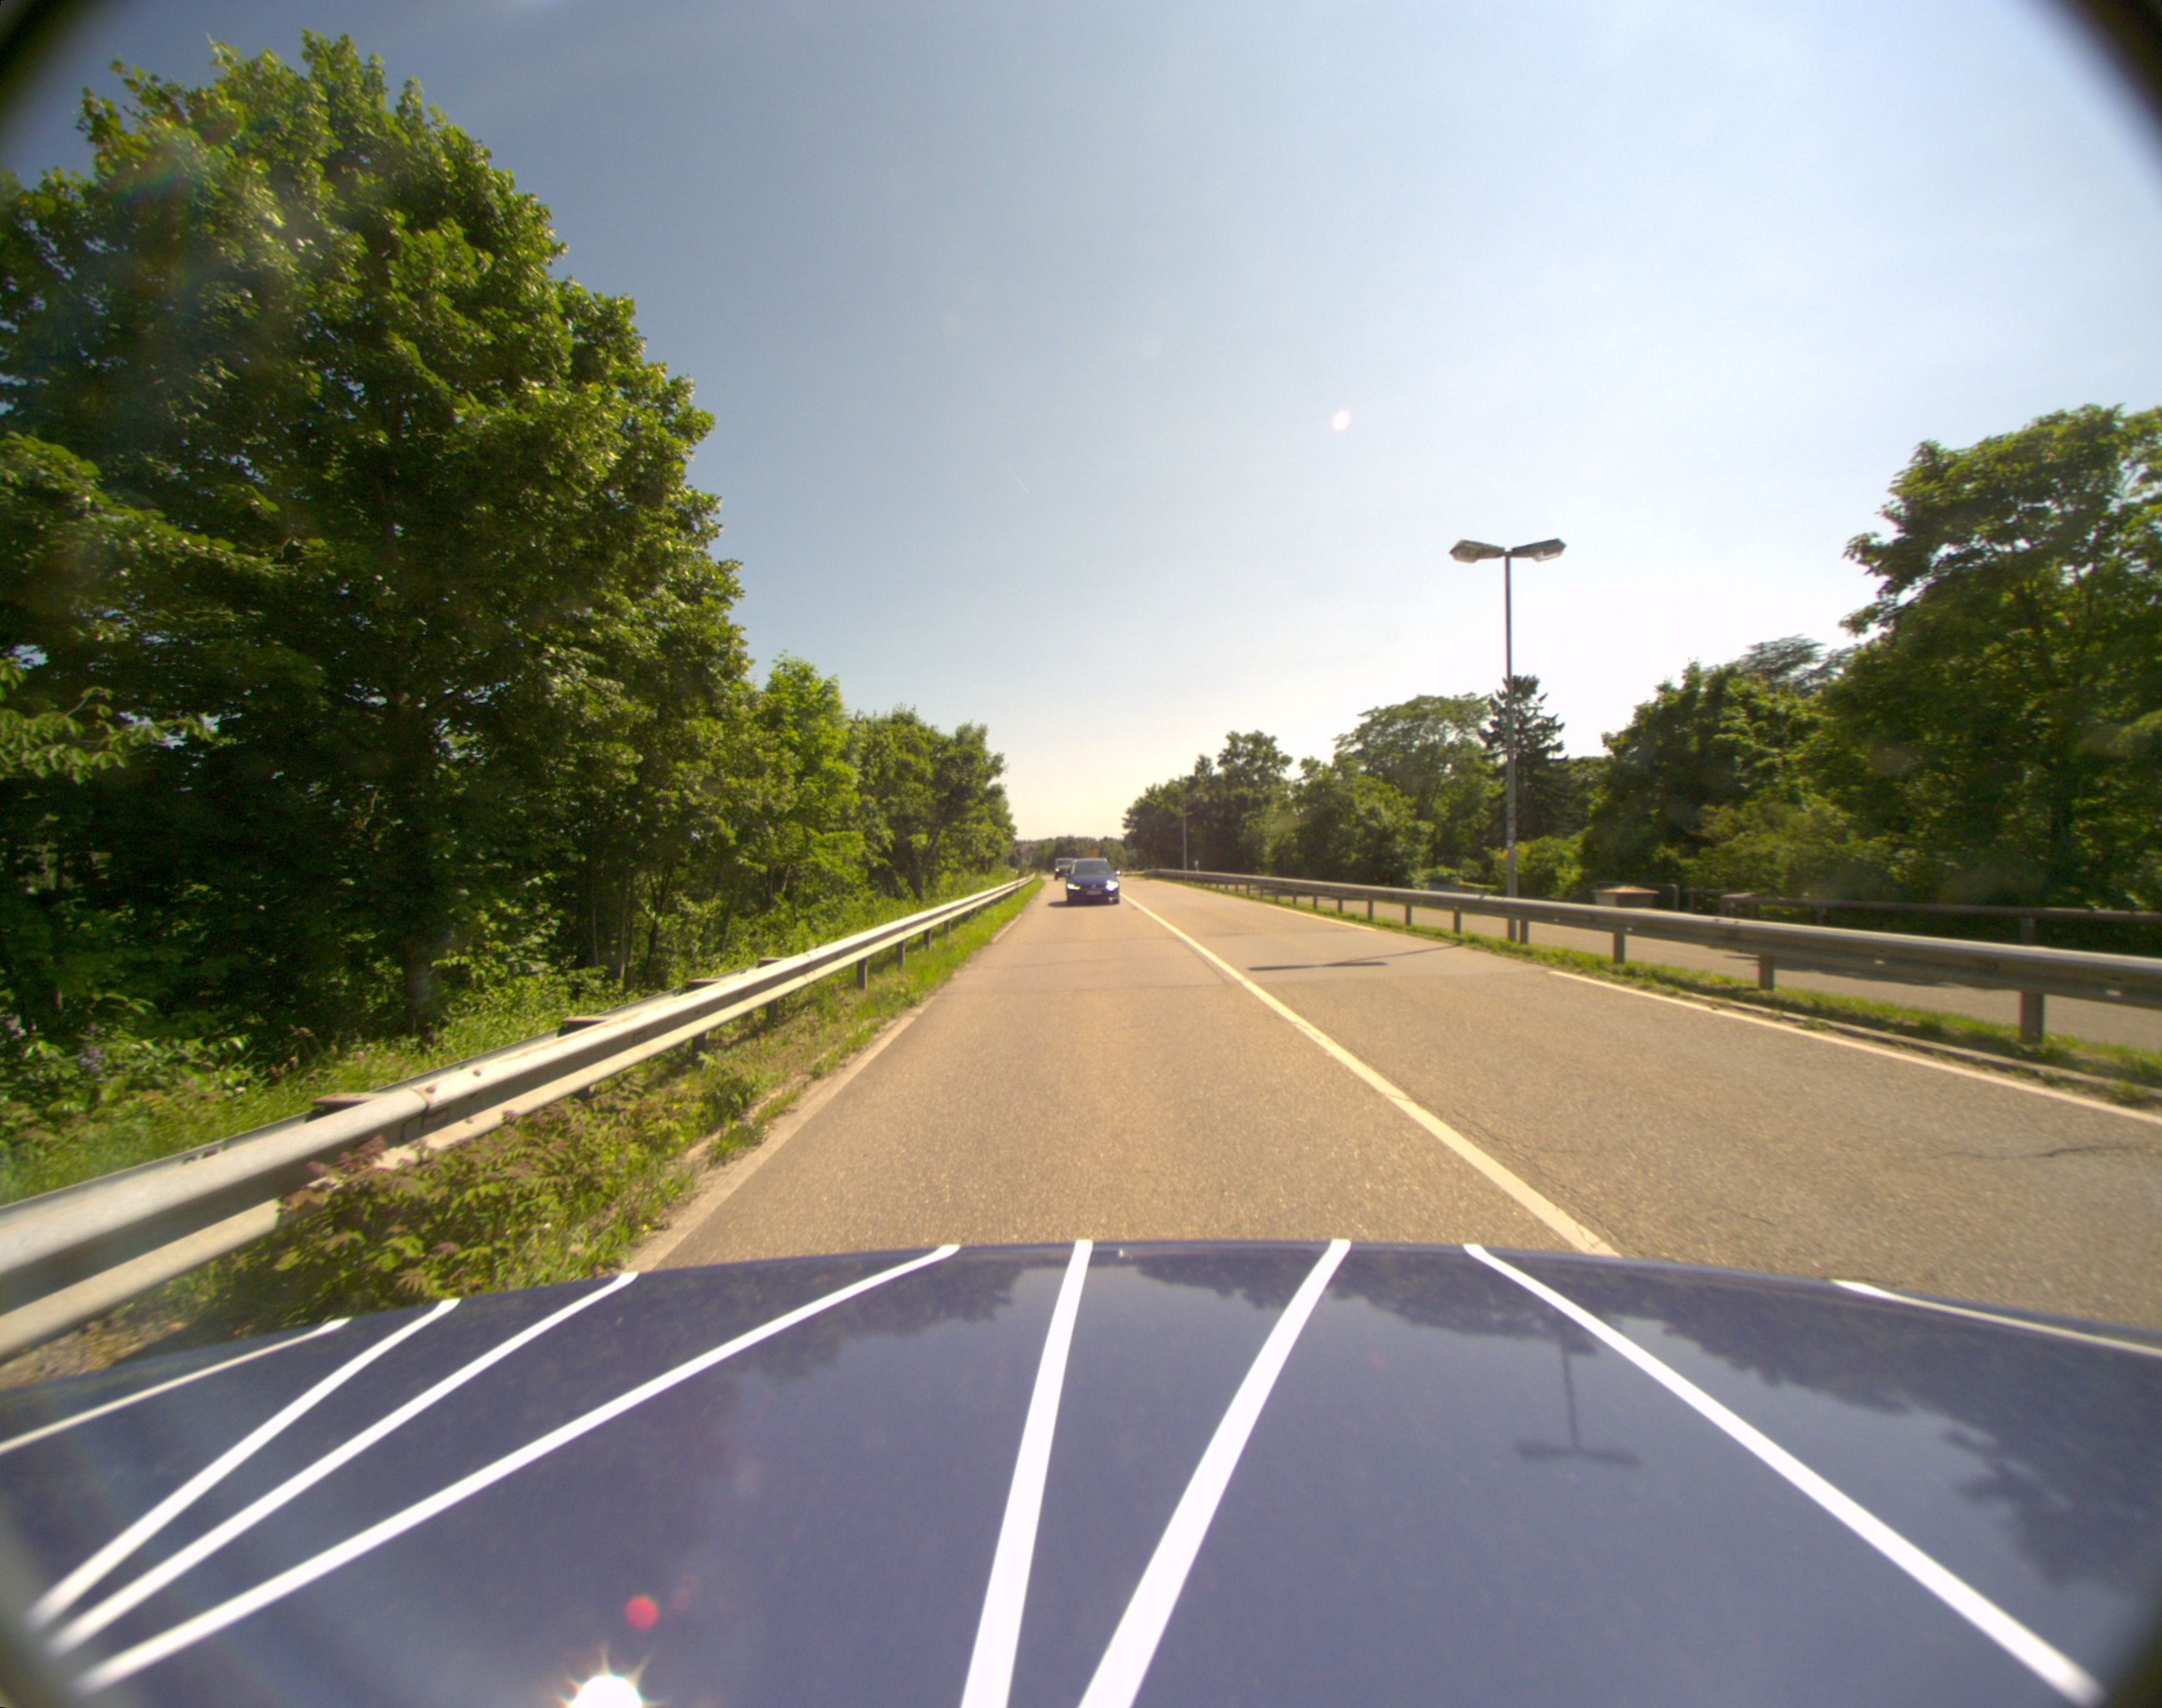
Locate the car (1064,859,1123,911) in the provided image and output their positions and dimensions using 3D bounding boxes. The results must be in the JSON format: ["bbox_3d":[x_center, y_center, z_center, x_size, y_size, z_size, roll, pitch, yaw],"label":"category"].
[{"bbox_3d":[0.388,0.991,25.784,1.828,1.591,4.195,0,0,0],"label":"car"}]

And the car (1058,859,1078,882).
[{"bbox_3d":[-1.158,1.490,68.497,1.779,2.006,4.001,0,-1,0],"label":"car"}]

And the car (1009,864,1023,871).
[{"bbox_3d":[-14.656,3.037,170.410,1.748,1.447,3.880,1,0,-26],"label":"car"}]
